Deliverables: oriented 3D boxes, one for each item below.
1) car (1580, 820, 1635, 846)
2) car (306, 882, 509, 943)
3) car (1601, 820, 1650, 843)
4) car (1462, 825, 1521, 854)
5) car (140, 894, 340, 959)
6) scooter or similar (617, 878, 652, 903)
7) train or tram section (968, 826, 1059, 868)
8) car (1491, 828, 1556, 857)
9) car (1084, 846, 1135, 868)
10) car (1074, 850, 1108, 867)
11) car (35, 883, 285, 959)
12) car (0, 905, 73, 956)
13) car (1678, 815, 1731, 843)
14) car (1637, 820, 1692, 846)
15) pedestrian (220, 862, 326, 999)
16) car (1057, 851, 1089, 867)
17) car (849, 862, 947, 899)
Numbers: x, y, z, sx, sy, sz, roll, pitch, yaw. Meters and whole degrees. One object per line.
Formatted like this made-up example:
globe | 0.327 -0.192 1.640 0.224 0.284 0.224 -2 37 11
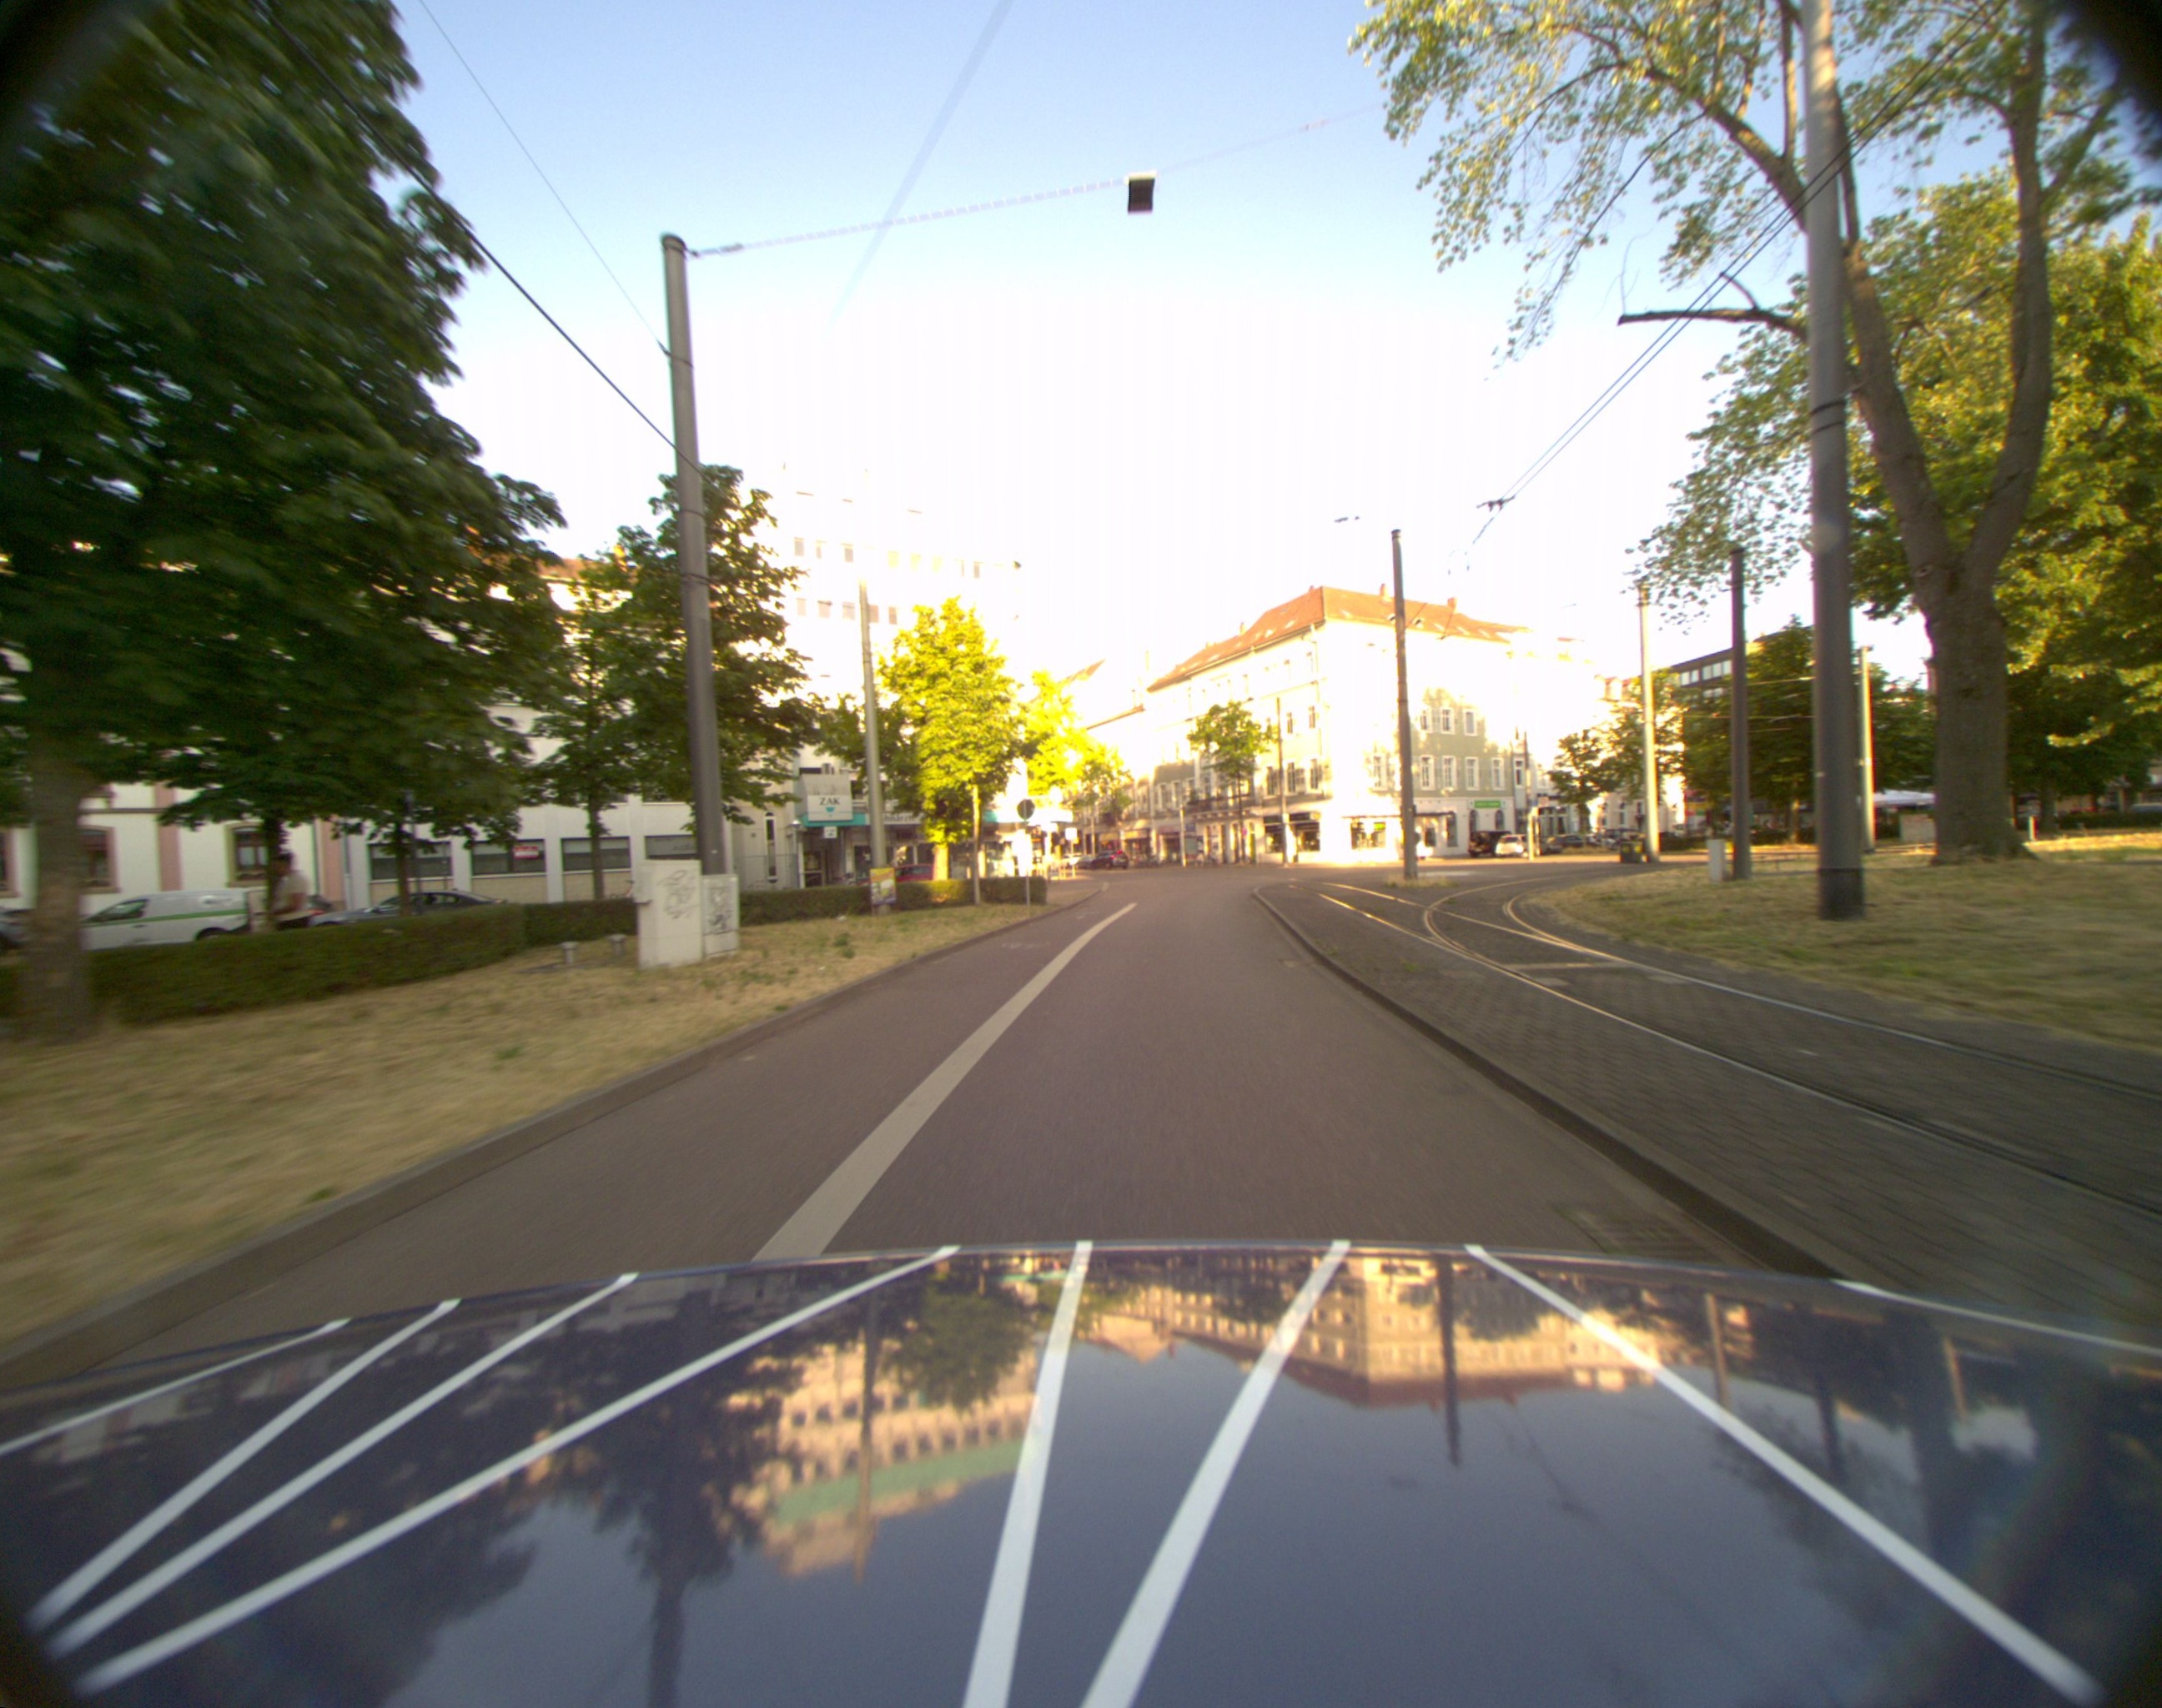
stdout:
car | 41.444 -1.658 59.786 4.006 1.892 1.996 -3 0 -31
car | -20.549 1.731 23.457 4.329 1.402 1.802 -3 2 -29
car | 45.688 -1.888 63.708 4.006 1.696 1.855 -3 0 -31
car | 29.914 -1.085 55.354 4.006 1.892 1.996 -3 0 -31
car | -27.558 2.320 25.088 4.019 1.714 1.698 -3 0 -28
scooter or similar | -19.622 1.616 33.409 1.182 1.026 0.488 -3 0 -8
train or tram section | -6.750 -0.539 72.653 2.954 3.564 13.335 -4 1 -31
car | 28.606 -0.749 49.090 4.006 1.696 1.855 -3 0 -31
car | 2.411 0.278 66.447 2.003 1.673 4.733 -3 0 -33
car | 0.971 0.438 76.941 1.727 1.543 3.960 -3 0 -27
car | -25.320 1.770 21.119 4.019 1.714 1.698 -3 0 -29
car | -33.401 2.382 22.603 3.681 1.441 1.698 -3 0 -28
car | 48.480 -1.942 59.072 4.006 1.987 1.855 -3 0 -31
car | 43.231 -1.573 56.266 4.006 1.696 1.855 -3 0 -31
pedestrian | -10.021 0.931 9.437 0.613 1.616 0.651 -3 0 19
car | -0.881 0.603 81.818 1.805 1.543 3.960 -3 0 -27
car | -8.540 1.212 35.482 4.005 1.441 1.844 -3 0 -29
